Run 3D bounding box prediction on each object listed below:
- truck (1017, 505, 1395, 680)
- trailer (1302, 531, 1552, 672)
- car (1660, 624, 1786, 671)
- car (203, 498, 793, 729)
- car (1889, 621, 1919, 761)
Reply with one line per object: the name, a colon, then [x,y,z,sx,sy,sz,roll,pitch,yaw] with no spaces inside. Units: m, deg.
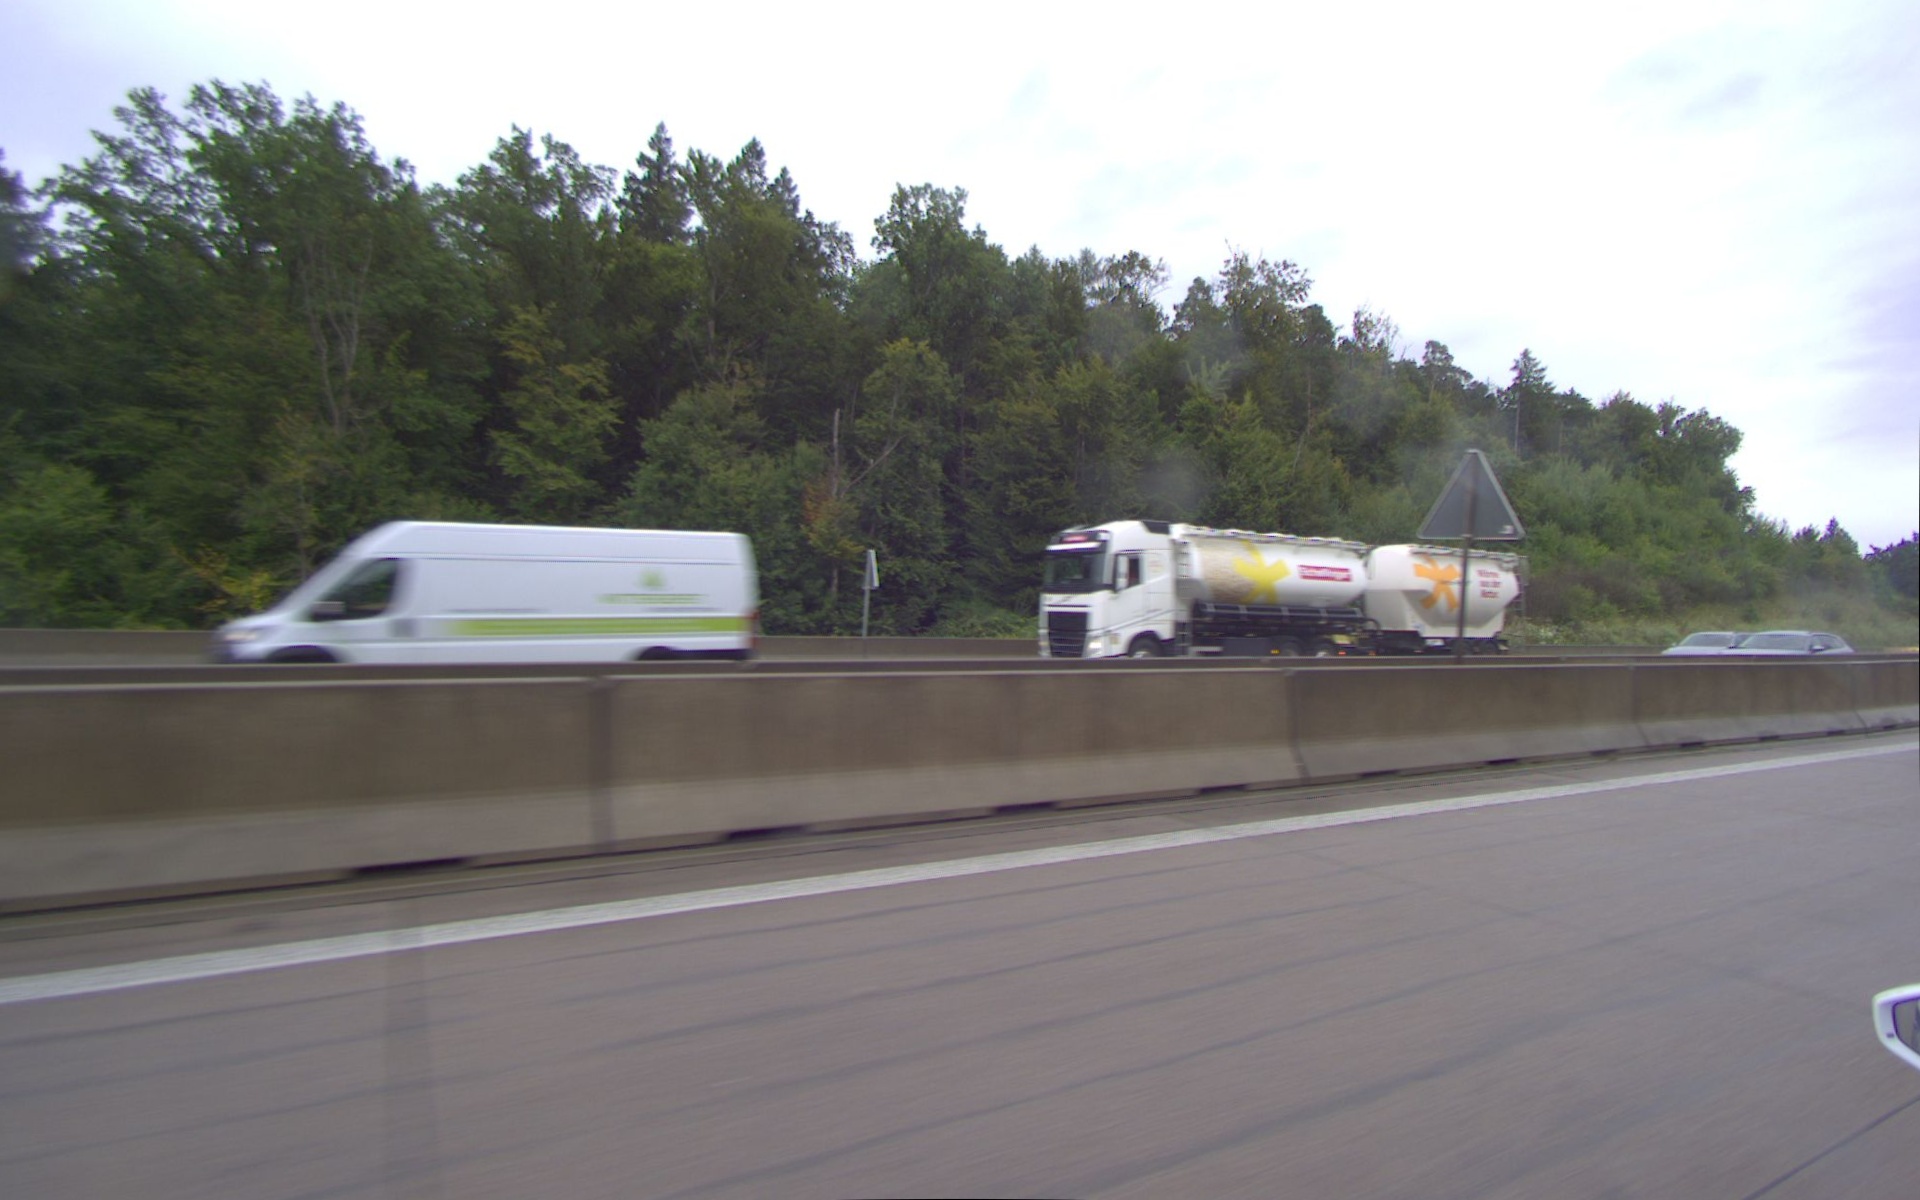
truck: [6.443,-0.050,25.128,10.370,3.716,2.551,1,0,-31]
trailer: [13.884,0.132,29.587,8.135,3.716,2.533,1,0,-31]
car: [24.866,1.525,32.694,4.666,1.390,1.650,1,-1,-31]
car: [-5.746,0.214,13.374,6.667,2.481,1.984,1,0,-31]
car: [12.088,1.027,11.247,3.646,1.482,1.673,1,1,-34]
